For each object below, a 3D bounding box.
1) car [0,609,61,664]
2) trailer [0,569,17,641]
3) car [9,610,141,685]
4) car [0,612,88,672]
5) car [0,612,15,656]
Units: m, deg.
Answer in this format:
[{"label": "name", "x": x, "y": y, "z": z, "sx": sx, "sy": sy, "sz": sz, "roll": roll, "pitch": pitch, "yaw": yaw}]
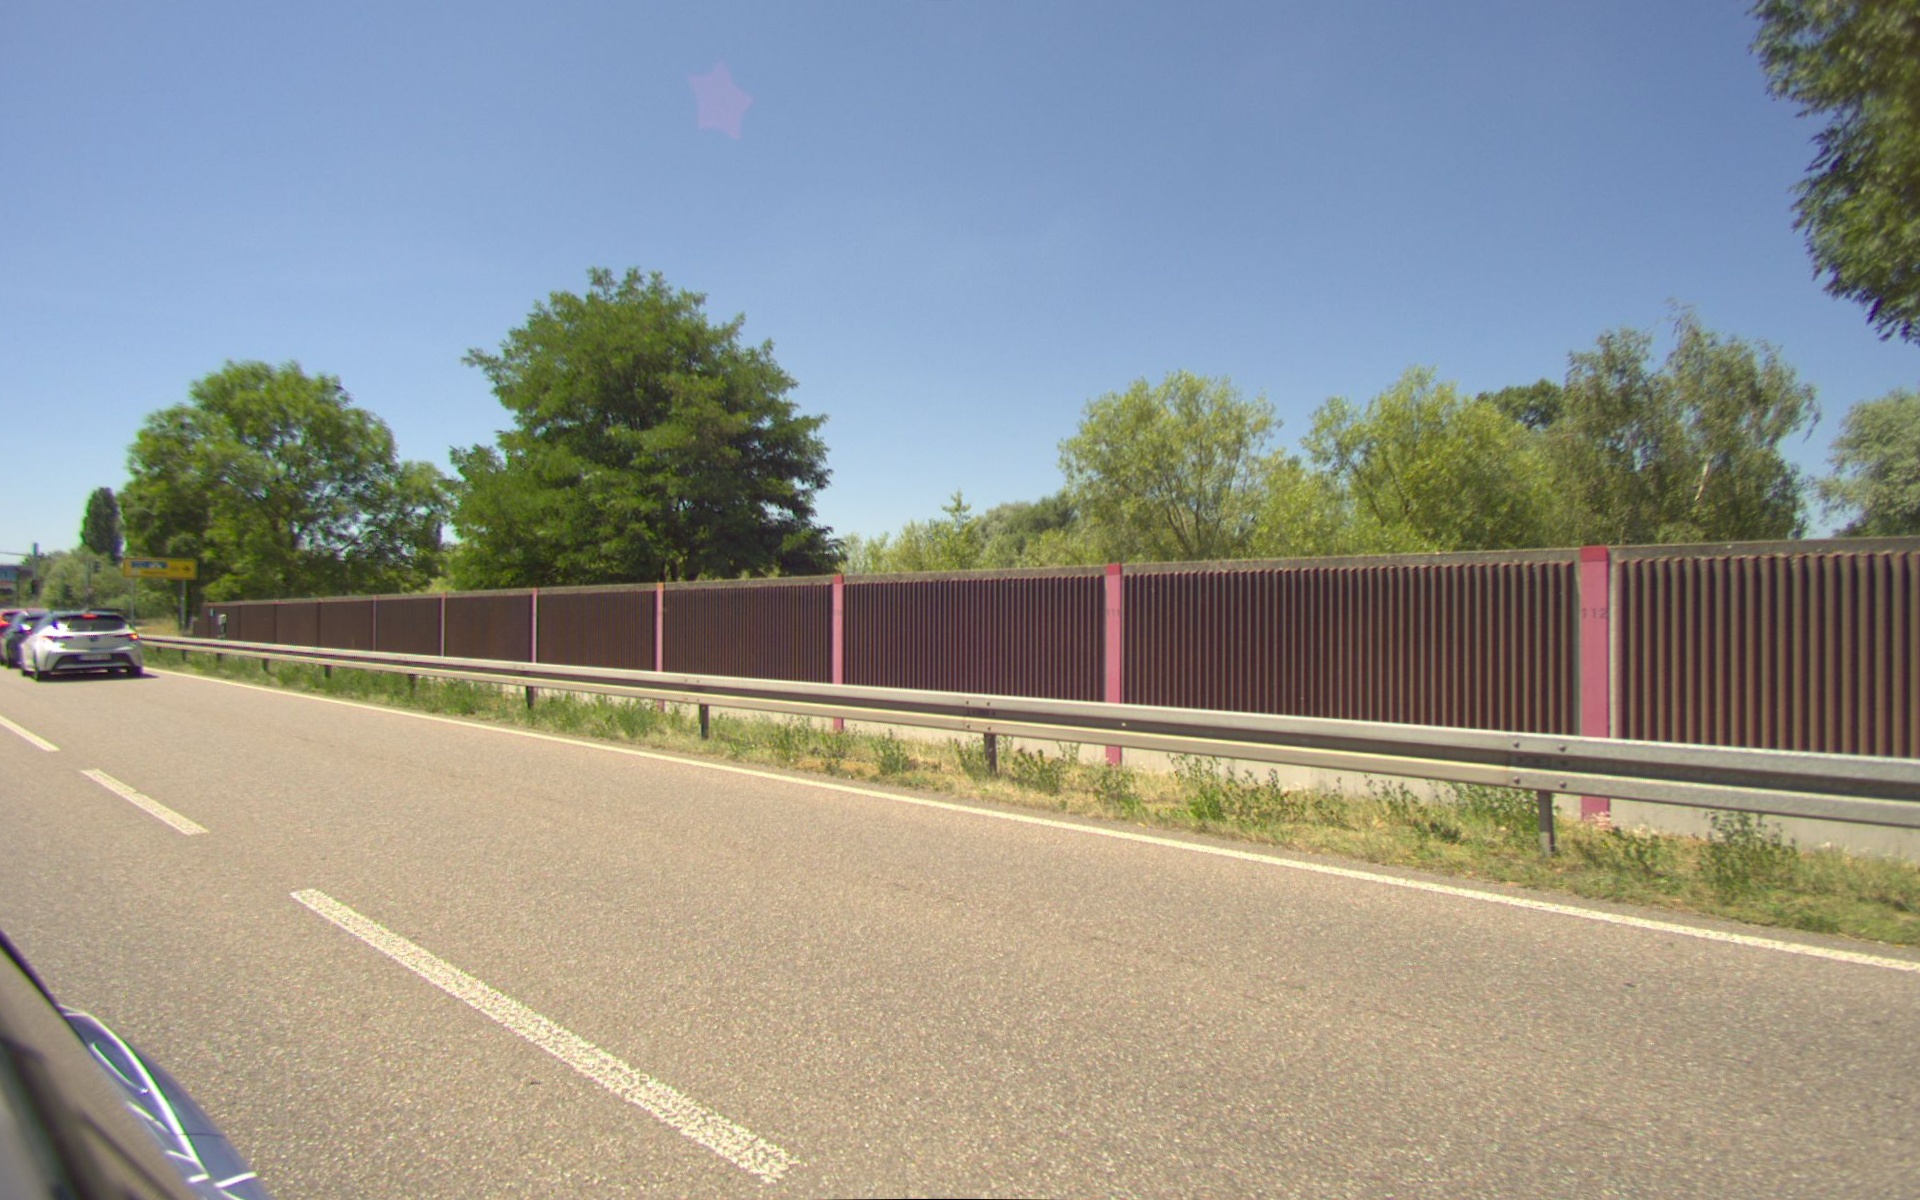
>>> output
[{"label": "car", "x": -30.266, "y": 1.142, "z": 32.543, "sx": 4.280, "sy": 1.644, "sz": 1.736, "roll": -1, "pitch": -1, "yaw": 44}, {"label": "trailer", "x": -60.010, "y": 0.347, "z": 61.644, "sx": 14.123, "sy": 4.075, "sz": 2.660, "roll": -1, "pitch": 0, "yaw": 43}, {"label": "car", "x": -19.619, "y": 0.981, "z": 22.356, "sx": 4.615, "sy": 1.471, "sz": 1.667, "roll": -1, "pitch": 0, "yaw": 42}, {"label": "car", "x": -25.064, "y": 1.081, "z": 27.468, "sx": 4.617, "sy": 1.471, "sz": 1.667, "roll": -1, "pitch": 0, "yaw": 44}, {"label": "car", "x": -36.532, "y": 1.273, "z": 37.768, "sx": 4.536, "sy": 1.601, "sz": 1.697, "roll": -1, "pitch": -1, "yaw": 45}]
